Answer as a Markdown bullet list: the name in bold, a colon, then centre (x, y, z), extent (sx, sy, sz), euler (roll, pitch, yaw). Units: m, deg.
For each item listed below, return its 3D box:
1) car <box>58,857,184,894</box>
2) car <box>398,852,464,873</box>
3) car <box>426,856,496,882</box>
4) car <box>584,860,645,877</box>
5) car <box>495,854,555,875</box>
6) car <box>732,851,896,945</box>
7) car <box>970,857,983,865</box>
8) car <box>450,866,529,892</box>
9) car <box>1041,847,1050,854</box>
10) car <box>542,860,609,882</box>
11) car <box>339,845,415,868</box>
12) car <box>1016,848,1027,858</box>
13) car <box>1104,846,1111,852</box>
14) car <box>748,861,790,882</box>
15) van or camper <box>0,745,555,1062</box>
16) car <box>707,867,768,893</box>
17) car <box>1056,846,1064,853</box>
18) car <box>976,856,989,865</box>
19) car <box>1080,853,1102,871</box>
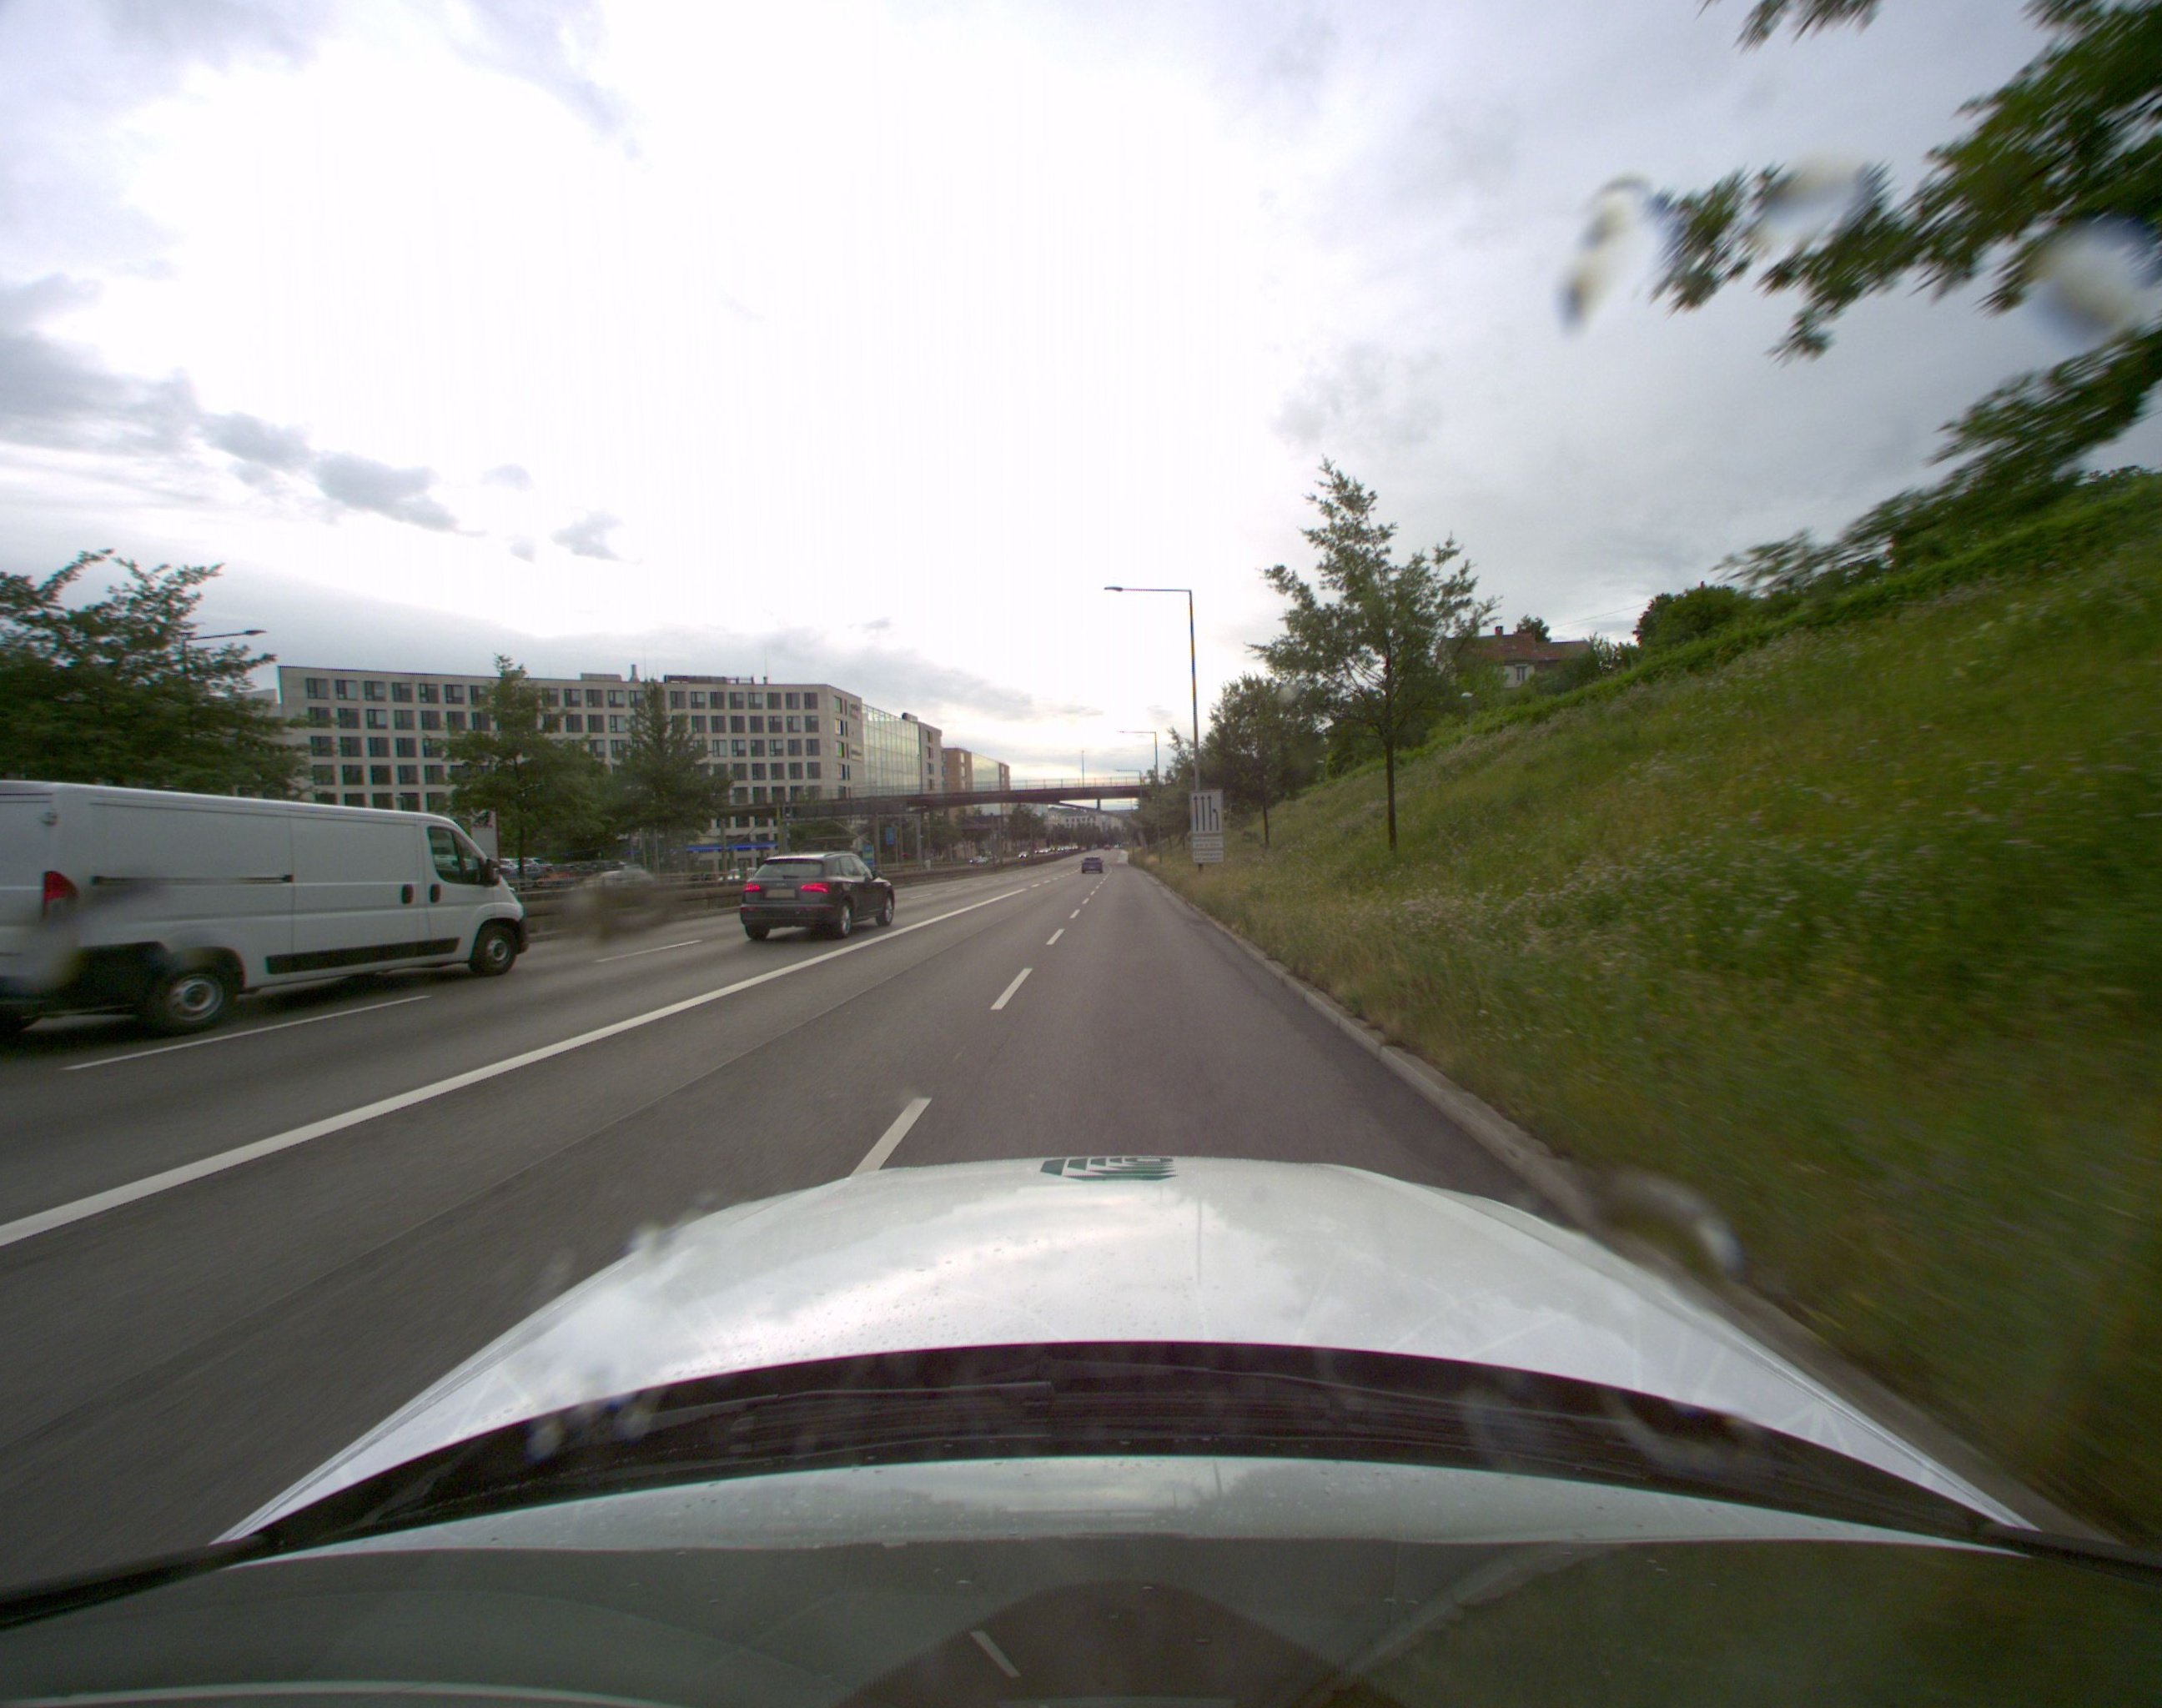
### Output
- **car**: centre (-50.732, 1.101, 43.184), extent (4.022, 1.650, 1.976), euler (-2, 3, -42)
- **car**: centre (-54.336, 0.673, 68.163), extent (3.975, 1.650, 1.821), euler (0, 2, -1)
- **car**: centre (-47.794, 1.143, 62.856), extent (3.965, 1.875, 2.005), euler (0, 3, 7)
- **car**: centre (-38.598, 1.210, 67.398), extent (3.968, 1.354, 1.852), euler (0, 0, 4)
- **car**: centre (-48.337, 0.924, 70.822), extent (3.965, 1.650, 2.005), euler (0, 3, 7)
- **car**: centre (-5.250, 0.788, 16.755), extent (1.745, 1.617, 4.748), euler (-1, 0, 0)
- **car**: centre (-18.442, 1.223, 143.738), extent (1.511, 1.420, 3.481), euler (-2, 1, 3)
- **car**: centre (-39.770, 1.649, 54.872), extent (4.009, 1.651, 1.982), euler (0, 1, -27)
- **car**: centre (-10.245, -0.930, 234.617), extent (1.984, 1.735, 4.254), euler (0, 3, 4)
- **car**: centre (-38.799, 1.290, 62.565), extent (3.968, 1.651, 2.003), euler (0, 0, 4)
- **car**: centre (-53.507, 0.166, 61.949), extent (3.973, 1.650, 2.001), euler (0, 3, 0)
- **car**: centre (-13.172, -0.301, 179.629), extent (1.986, 2.013, 4.003), euler (0, 3, 2)
- **car**: centre (8.357, -1.462, 255.586), extent (1.857, 1.749, 4.000), euler (0, 3, -1)
- **car**: centre (-27.251, 1.496, 71.319), extent (1.986, 1.777, 4.103), euler (0, 0, 1)
- **van or camper**: centre (-8.908, 0.397, 9.077), extent (2.194, 2.439, 5.536), euler (-1, 0, 3)
- **car**: centre (-22.959, 1.730, 54.573), extent (1.983, 1.585, 4.008), euler (-2, -1, 7)
- **car**: centre (-6.315, -1.364, 243.472), extent (1.984, 2.013, 4.005), euler (-1, 0, 4)
- **car**: centre (-16.086, 1.076, 132.999), extent (1.511, 1.420, 3.481), euler (-2, 1, 3)
- **car**: centre (0.897, 0.654, 69.946), extent (1.742, 1.420, 3.481), euler (-2, 0, 3)
